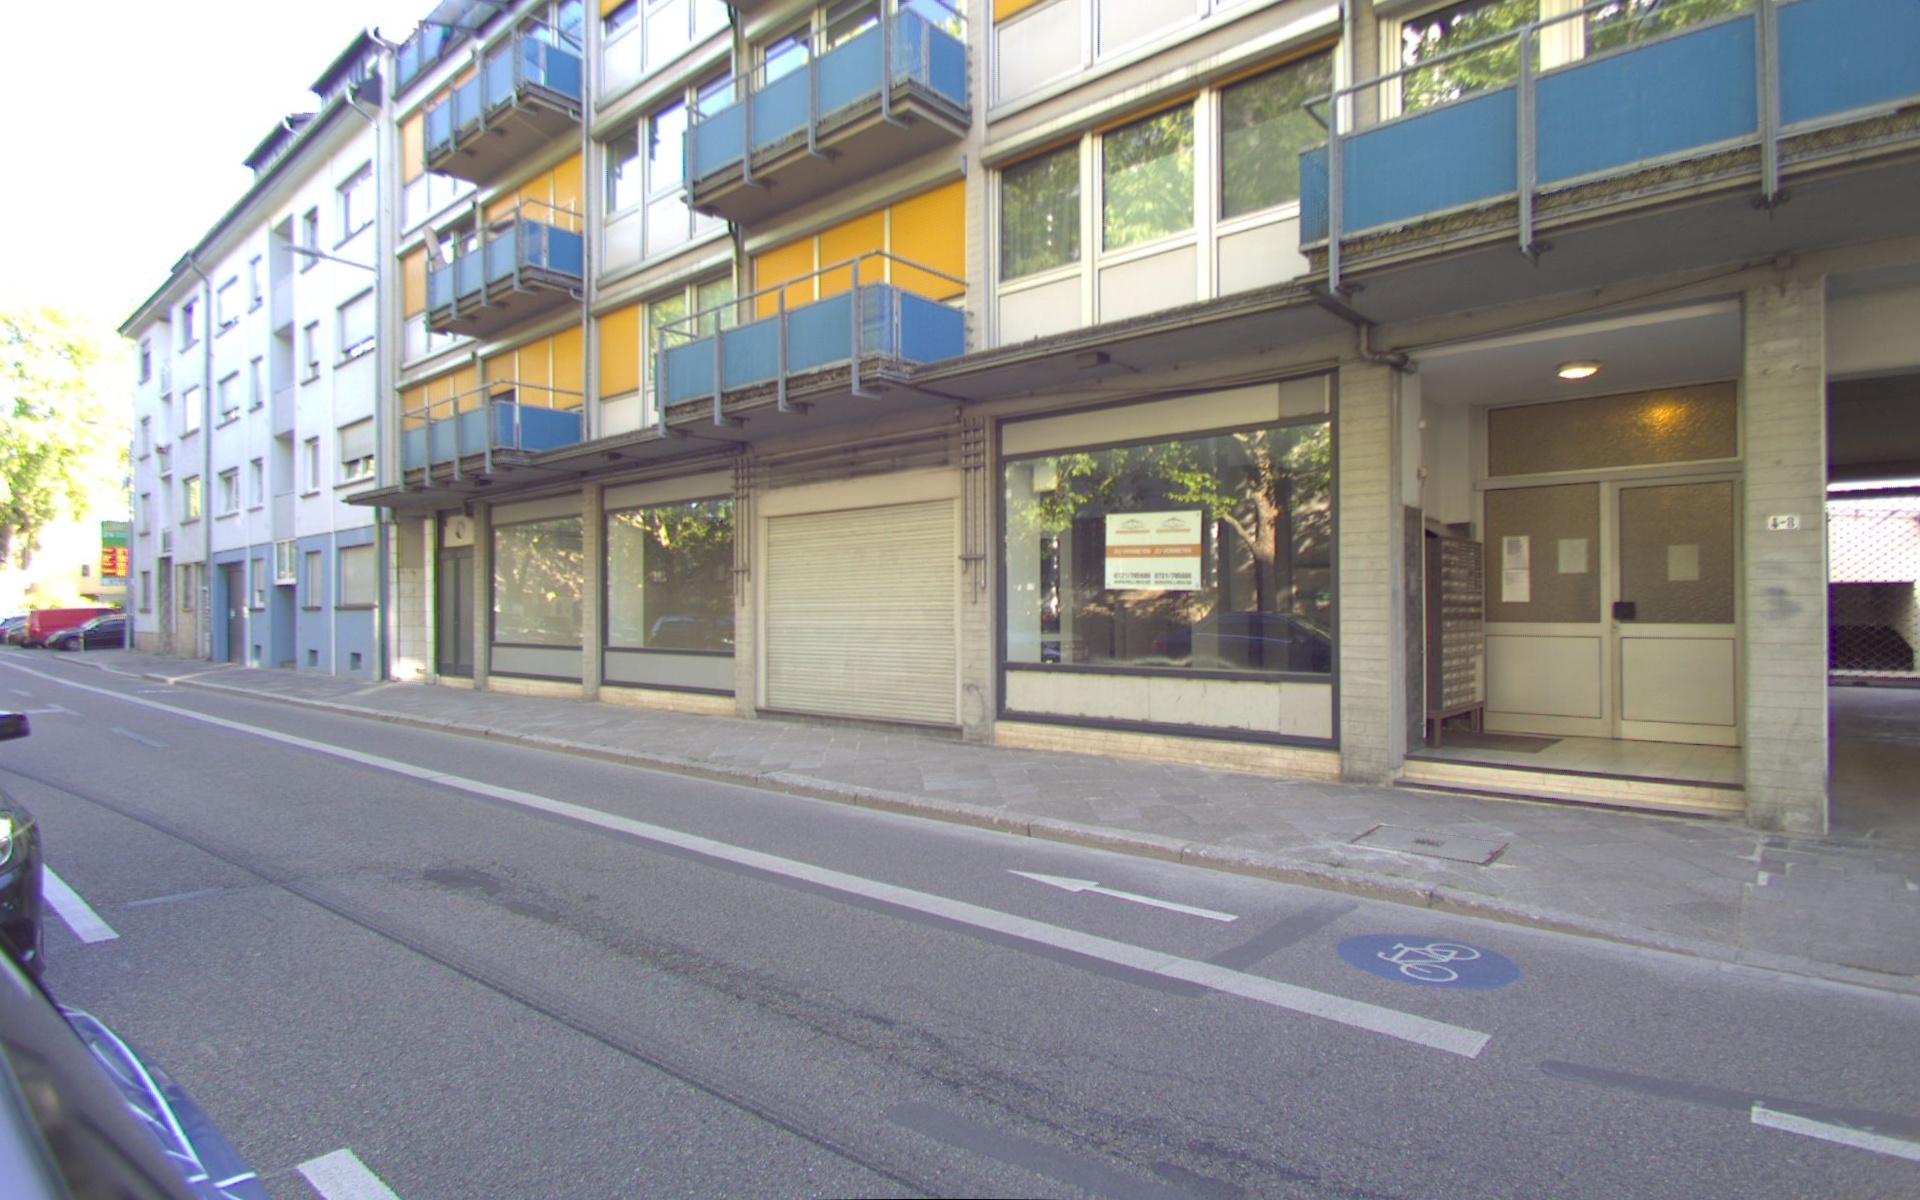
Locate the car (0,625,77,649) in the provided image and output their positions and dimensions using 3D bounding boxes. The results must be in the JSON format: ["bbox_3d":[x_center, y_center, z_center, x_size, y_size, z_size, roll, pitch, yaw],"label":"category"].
[{"bbox_3d":[-55.366,2.192,60.424,1.525,1.343,3.854,-1,0,42],"label":"car"}]

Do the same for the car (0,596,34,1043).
[{"bbox_3d":[-5.420,0.772,4.192,4.291,1.515,1.805,-1,0,40],"label":"car"}]

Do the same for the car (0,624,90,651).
[{"bbox_3d":[-51.836,2.111,57.206,1.594,1.385,3.854,-1,0,42],"label":"car"}]

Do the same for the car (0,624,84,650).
[{"bbox_3d":[-53.350,2.131,58.545,1.594,1.385,3.854,-1,0,42],"label":"car"}]

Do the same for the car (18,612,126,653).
[{"bbox_3d":[-43.693,1.579,49.850,1.749,1.921,3.854,-1,-1,42],"label":"car"}]

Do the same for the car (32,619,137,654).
[{"bbox_3d":[-41.500,1.714,48.032,1.602,1.521,3.620,-1,0,42],"label":"car"}]

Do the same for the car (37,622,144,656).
[{"bbox_3d":[-39.782,1.760,46.336,1.534,1.420,3.551,-2,-1,42],"label":"car"}]

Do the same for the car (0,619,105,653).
[{"bbox_3d":[-46.040,1.794,51.388,1.603,1.598,3.854,-1,0,42],"label":"car"}]

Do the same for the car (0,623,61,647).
[{"bbox_3d":[-59.202,2.205,63.743,1.539,1.451,3.733,-1,0,42],"label":"car"}]

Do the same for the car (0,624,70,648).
[{"bbox_3d":[-57.172,2.216,61.986,1.525,1.343,3.854,-1,0,42],"label":"car"}]

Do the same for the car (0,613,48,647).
[{"bbox_3d":[-62.700,1.984,66.574,1.725,2.193,3.854,-1,0,42],"label":"car"}]
